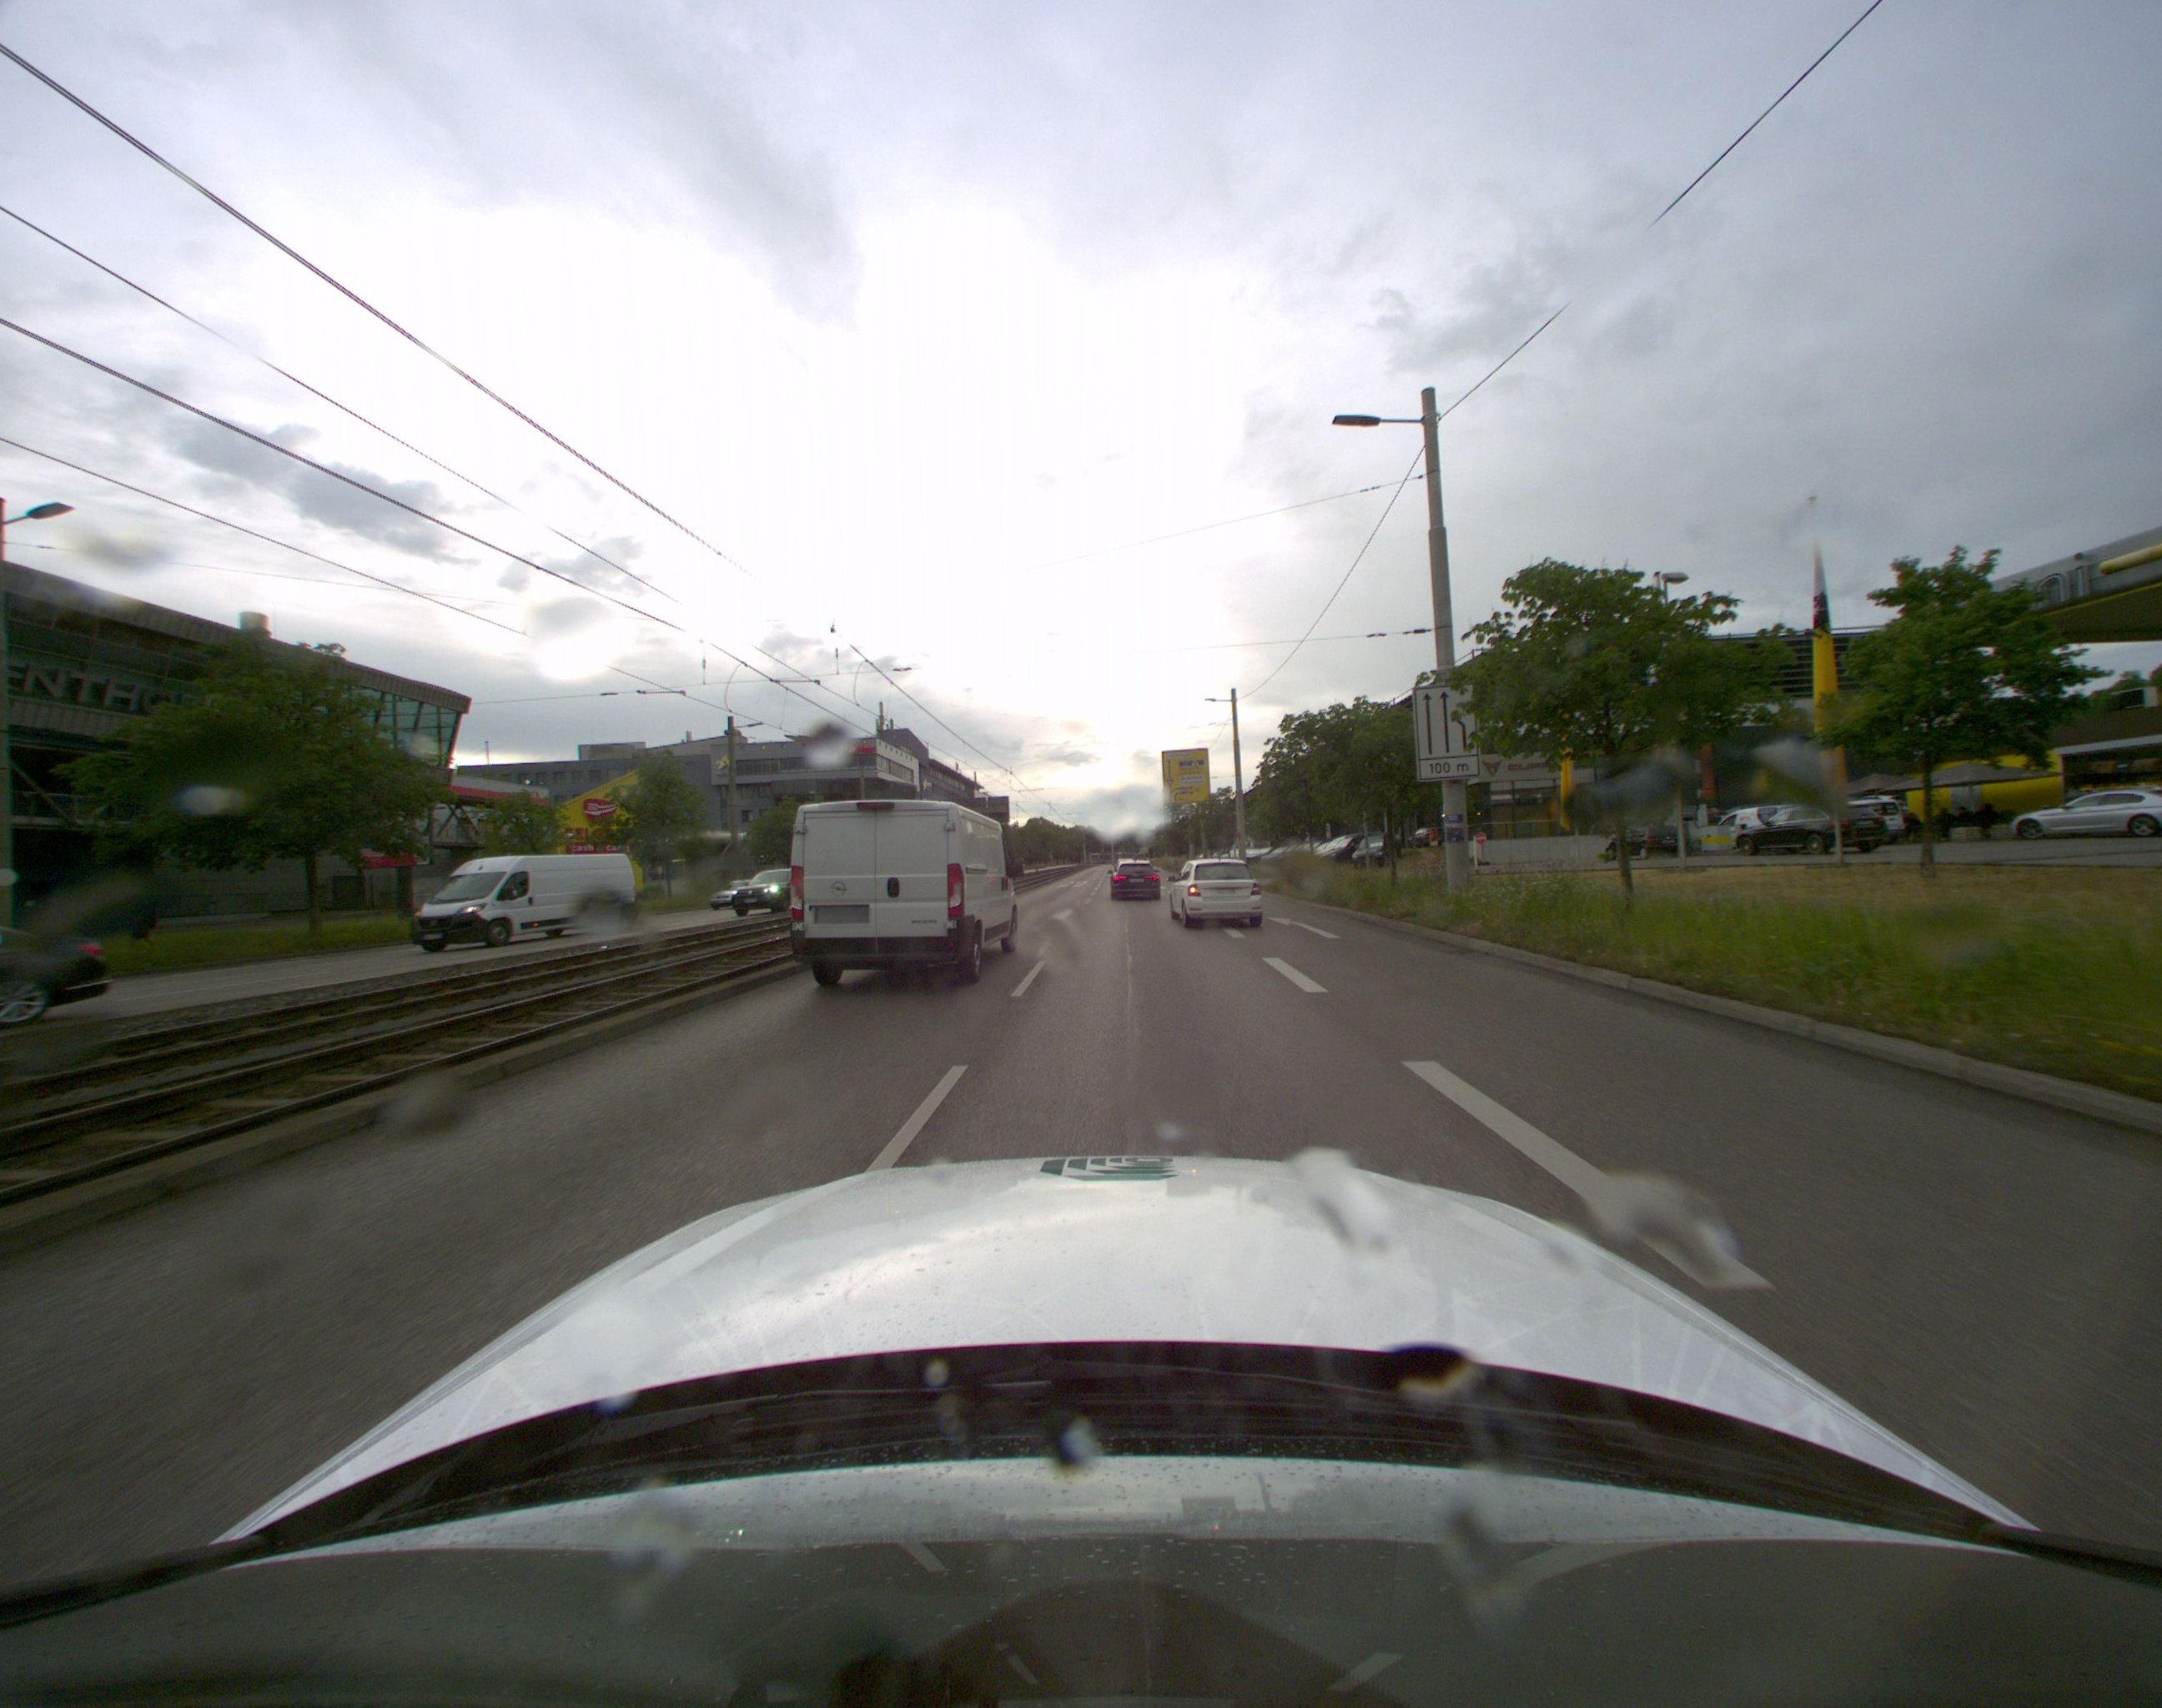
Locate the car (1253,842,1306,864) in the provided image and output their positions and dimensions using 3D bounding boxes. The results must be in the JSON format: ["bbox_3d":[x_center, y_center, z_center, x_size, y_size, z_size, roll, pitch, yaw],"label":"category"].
[{"bbox_3d":[17.065,-0.070,70.199,4.044,1.501,1.681,-4,-1,-10],"label":"car"}]

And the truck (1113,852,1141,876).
[{"bbox_3d":[3.658,0.788,65.544,1.987,1.790,4.414,-3,0,0],"label":"truck"}]

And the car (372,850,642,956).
[{"bbox_3d":[-16.056,1.206,23.514,2.419,2.500,6.561,-4,0,7],"label":"car"}]

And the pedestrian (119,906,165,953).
[{"bbox_3d":[-30.291,2.433,26.272,0.606,1.439,0.744,0,-1,-2],"label":"pedestrian"}]

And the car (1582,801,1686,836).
[{"bbox_3d":[30.191,-1.896,44.587,1.851,1.644,4.273,-3,0,-30],"label":"car"}]

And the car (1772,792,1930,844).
[{"bbox_3d":[30.904,-1.368,32.931,1.986,1.860,4.718,0,-1,1],"label":"car"}]

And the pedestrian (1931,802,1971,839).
[{"bbox_3d":[32.673,-1.248,30.589,0.799,1.317,0.709,-3,0,-16],"label":"pedestrian"}]

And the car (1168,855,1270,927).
[{"bbox_3d":[3.019,0.752,18.489,1.740,1.457,3.671,0,0,0],"label":"car"}]

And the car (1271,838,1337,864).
[{"bbox_3d":[17.201,-0.216,62.936,4.481,1.619,1.817,-4,-1,-7],"label":"car"}]

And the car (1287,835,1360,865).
[{"bbox_3d":[16.998,-0.261,57.131,4.485,1.752,1.815,-4,-1,-10],"label":"car"}]

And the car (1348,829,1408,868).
[{"bbox_3d":[16.680,-0.315,45.582,1.854,1.816,4.420,-5,1,36],"label":"car"}]

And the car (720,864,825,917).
[{"bbox_3d":[-11.587,1.305,30.911,1.900,1.657,4.366,-5,0,5],"label":"car"}]

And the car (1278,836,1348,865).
[{"bbox_3d":[17.077,-0.239,60.015,4.485,1.795,1.815,-4,-1,-10],"label":"car"}]

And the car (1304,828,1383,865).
[{"bbox_3d":[16.849,-0.483,52.233,4.498,1.991,1.810,-4,-1,-18],"label":"car"}]

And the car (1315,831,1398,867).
[{"bbox_3d":[16.682,-0.284,49.403,4.380,1.789,1.871,-4,-1,-12],"label":"car"}]

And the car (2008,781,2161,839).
[{"bbox_3d":[32.846,-1.336,25.628,1.987,1.609,4.717,0,0,0],"label":"car"}]

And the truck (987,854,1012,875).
[{"bbox_3d":[-10.986,1.353,110.091,2.230,2.564,7.019,-4,-1,3],"label":"truck"}]

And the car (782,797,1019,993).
[{"bbox_3d":[-2.226,0.455,11.685,2.082,2.196,5.064,0,0,2],"label":"car"}]

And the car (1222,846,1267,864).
[{"bbox_3d":[17.208,0.084,85.724,4.155,1.569,1.896,-4,-1,-21],"label":"car"}]

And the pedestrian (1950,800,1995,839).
[{"bbox_3d":[32.479,-1.253,29.676,0.799,1.317,0.776,-3,0,-15],"label":"pedestrian"}]

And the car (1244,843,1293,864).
[{"bbox_3d":[17.258,-0.032,75.063,4.055,1.576,1.722,-4,-1,-18],"label":"car"}]

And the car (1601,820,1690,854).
[{"bbox_3d":[23.886,-0.668,34.578,1.386,1.338,3.490,0,-1,1],"label":"car"}]

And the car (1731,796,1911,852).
[{"bbox_3d":[25.364,-0.961,28.211,1.987,1.736,4.717,0,-1,0],"label":"car"}]

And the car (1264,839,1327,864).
[{"bbox_3d":[17.214,-0.196,65.437,4.485,1.663,1.815,-4,-1,-10],"label":"car"}]

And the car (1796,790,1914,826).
[{"bbox_3d":[41.982,-2.473,44.282,1.851,1.644,4.273,-3,0,-30],"label":"car"}]

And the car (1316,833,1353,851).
[{"bbox_3d":[31.996,-1.456,102.714,4.012,1.976,1.945,-3,-1,1],"label":"car"}]

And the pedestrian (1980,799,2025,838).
[{"bbox_3d":[33.611,-1.286,29.700,0.799,1.317,0.776,-3,0,-15],"label":"pedestrian"}]

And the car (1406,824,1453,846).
[{"bbox_3d":[25.602,-1.381,59.931,1.773,1.473,3.900,-3,0,1],"label":"car"}]

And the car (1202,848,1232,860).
[{"bbox_3d":[20.254,-0.002,121.463,4.113,1.465,1.731,-4,-2,-31],"label":"car"}]

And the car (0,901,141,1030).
[{"bbox_3d":[-14.320,1.474,8.884,1.937,1.484,5.006,-4,0,8],"label":"car"}]

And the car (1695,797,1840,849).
[{"bbox_3d":[27.869,-1.194,33.323,1.987,1.860,4.717,0,-1,0],"label":"car"}]

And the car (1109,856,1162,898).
[{"bbox_3d":[1.969,0.804,30.414,1.783,1.449,4.001,-1,0,2],"label":"car"}]

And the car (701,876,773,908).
[{"bbox_3d":[-17.668,1.919,42.063,1.740,1.400,4.006,0,0,5],"label":"car"}]
